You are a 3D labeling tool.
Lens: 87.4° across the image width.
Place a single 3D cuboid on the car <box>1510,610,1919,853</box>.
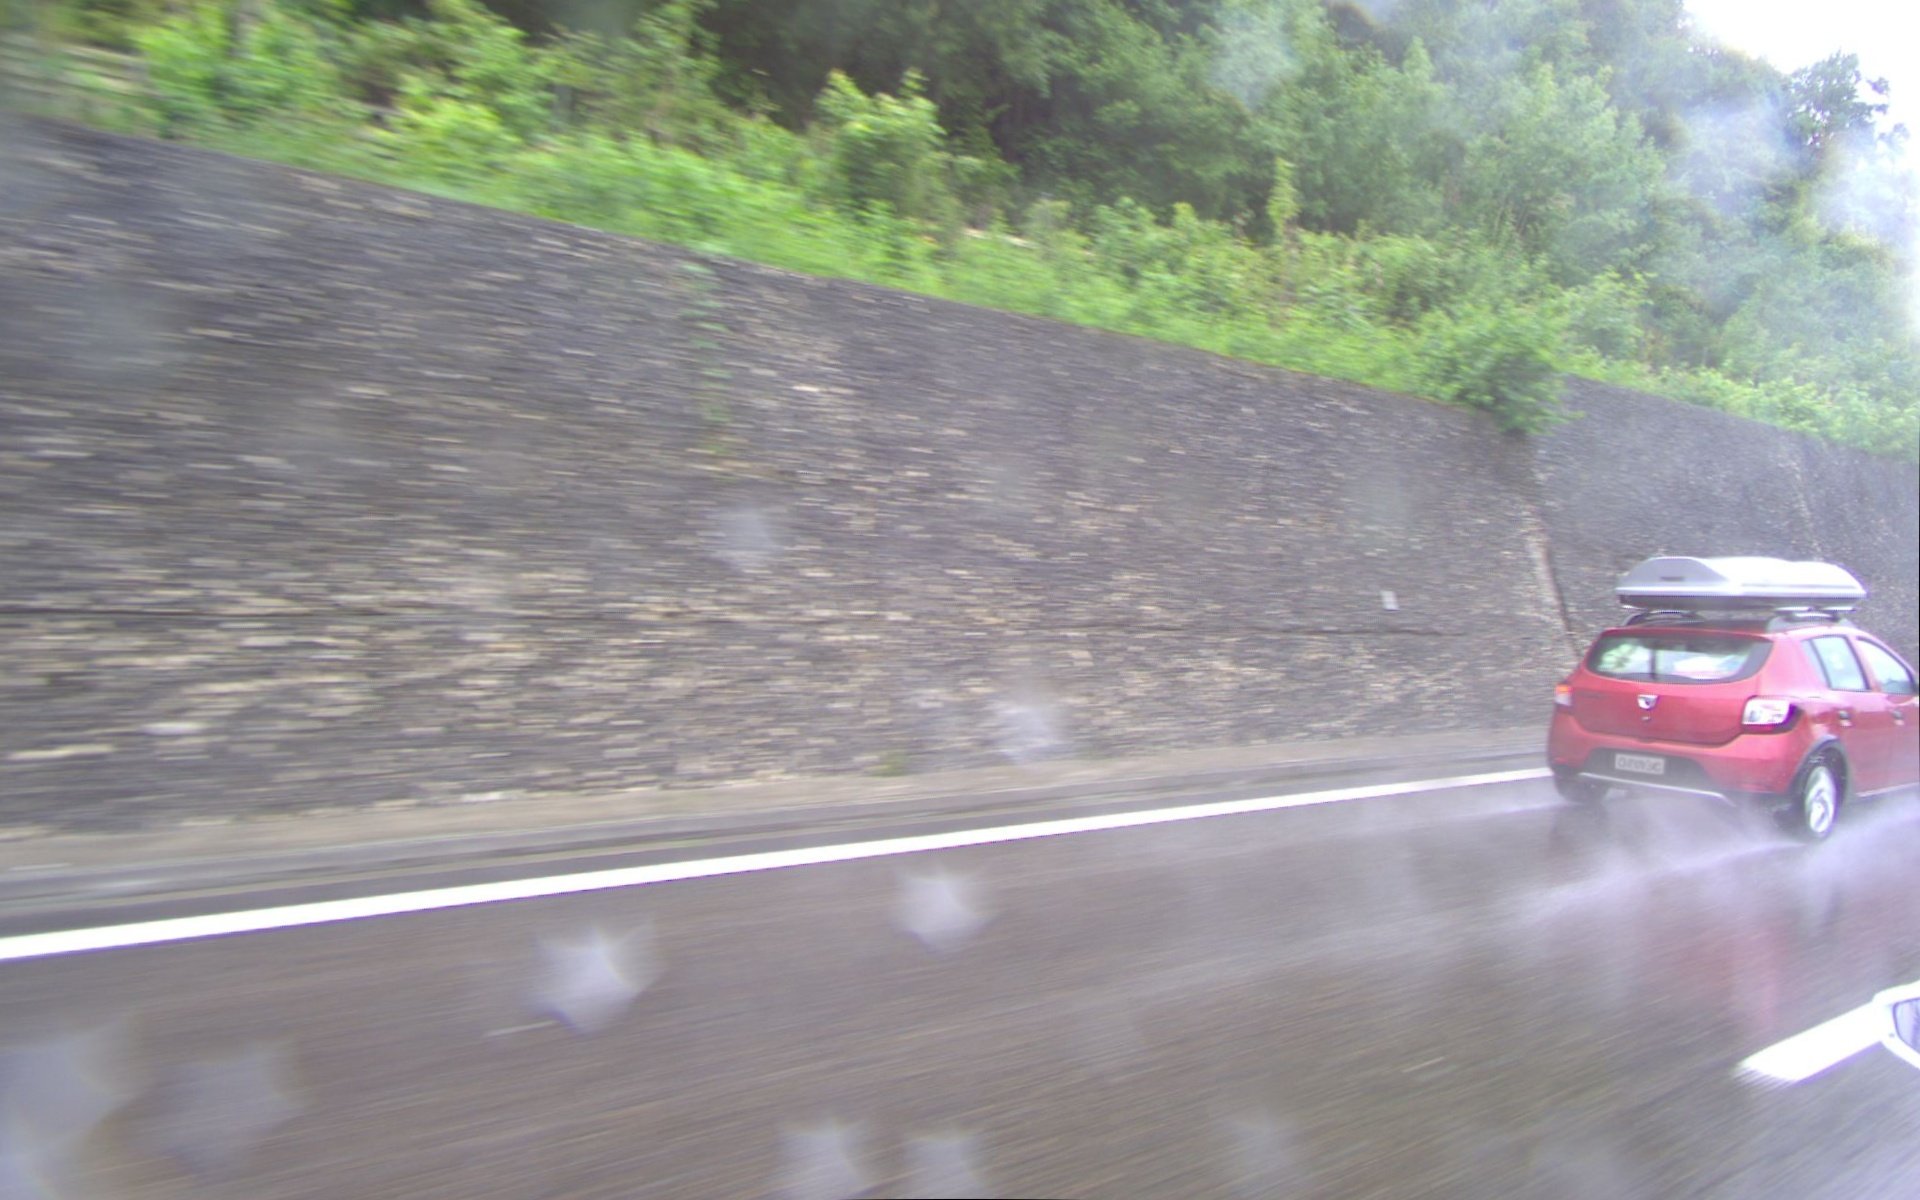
[{"bbox_3d":[6.719,0.903,8.384,3.953,1.572,1.984,1,-1,-30],"label":"car"}]
